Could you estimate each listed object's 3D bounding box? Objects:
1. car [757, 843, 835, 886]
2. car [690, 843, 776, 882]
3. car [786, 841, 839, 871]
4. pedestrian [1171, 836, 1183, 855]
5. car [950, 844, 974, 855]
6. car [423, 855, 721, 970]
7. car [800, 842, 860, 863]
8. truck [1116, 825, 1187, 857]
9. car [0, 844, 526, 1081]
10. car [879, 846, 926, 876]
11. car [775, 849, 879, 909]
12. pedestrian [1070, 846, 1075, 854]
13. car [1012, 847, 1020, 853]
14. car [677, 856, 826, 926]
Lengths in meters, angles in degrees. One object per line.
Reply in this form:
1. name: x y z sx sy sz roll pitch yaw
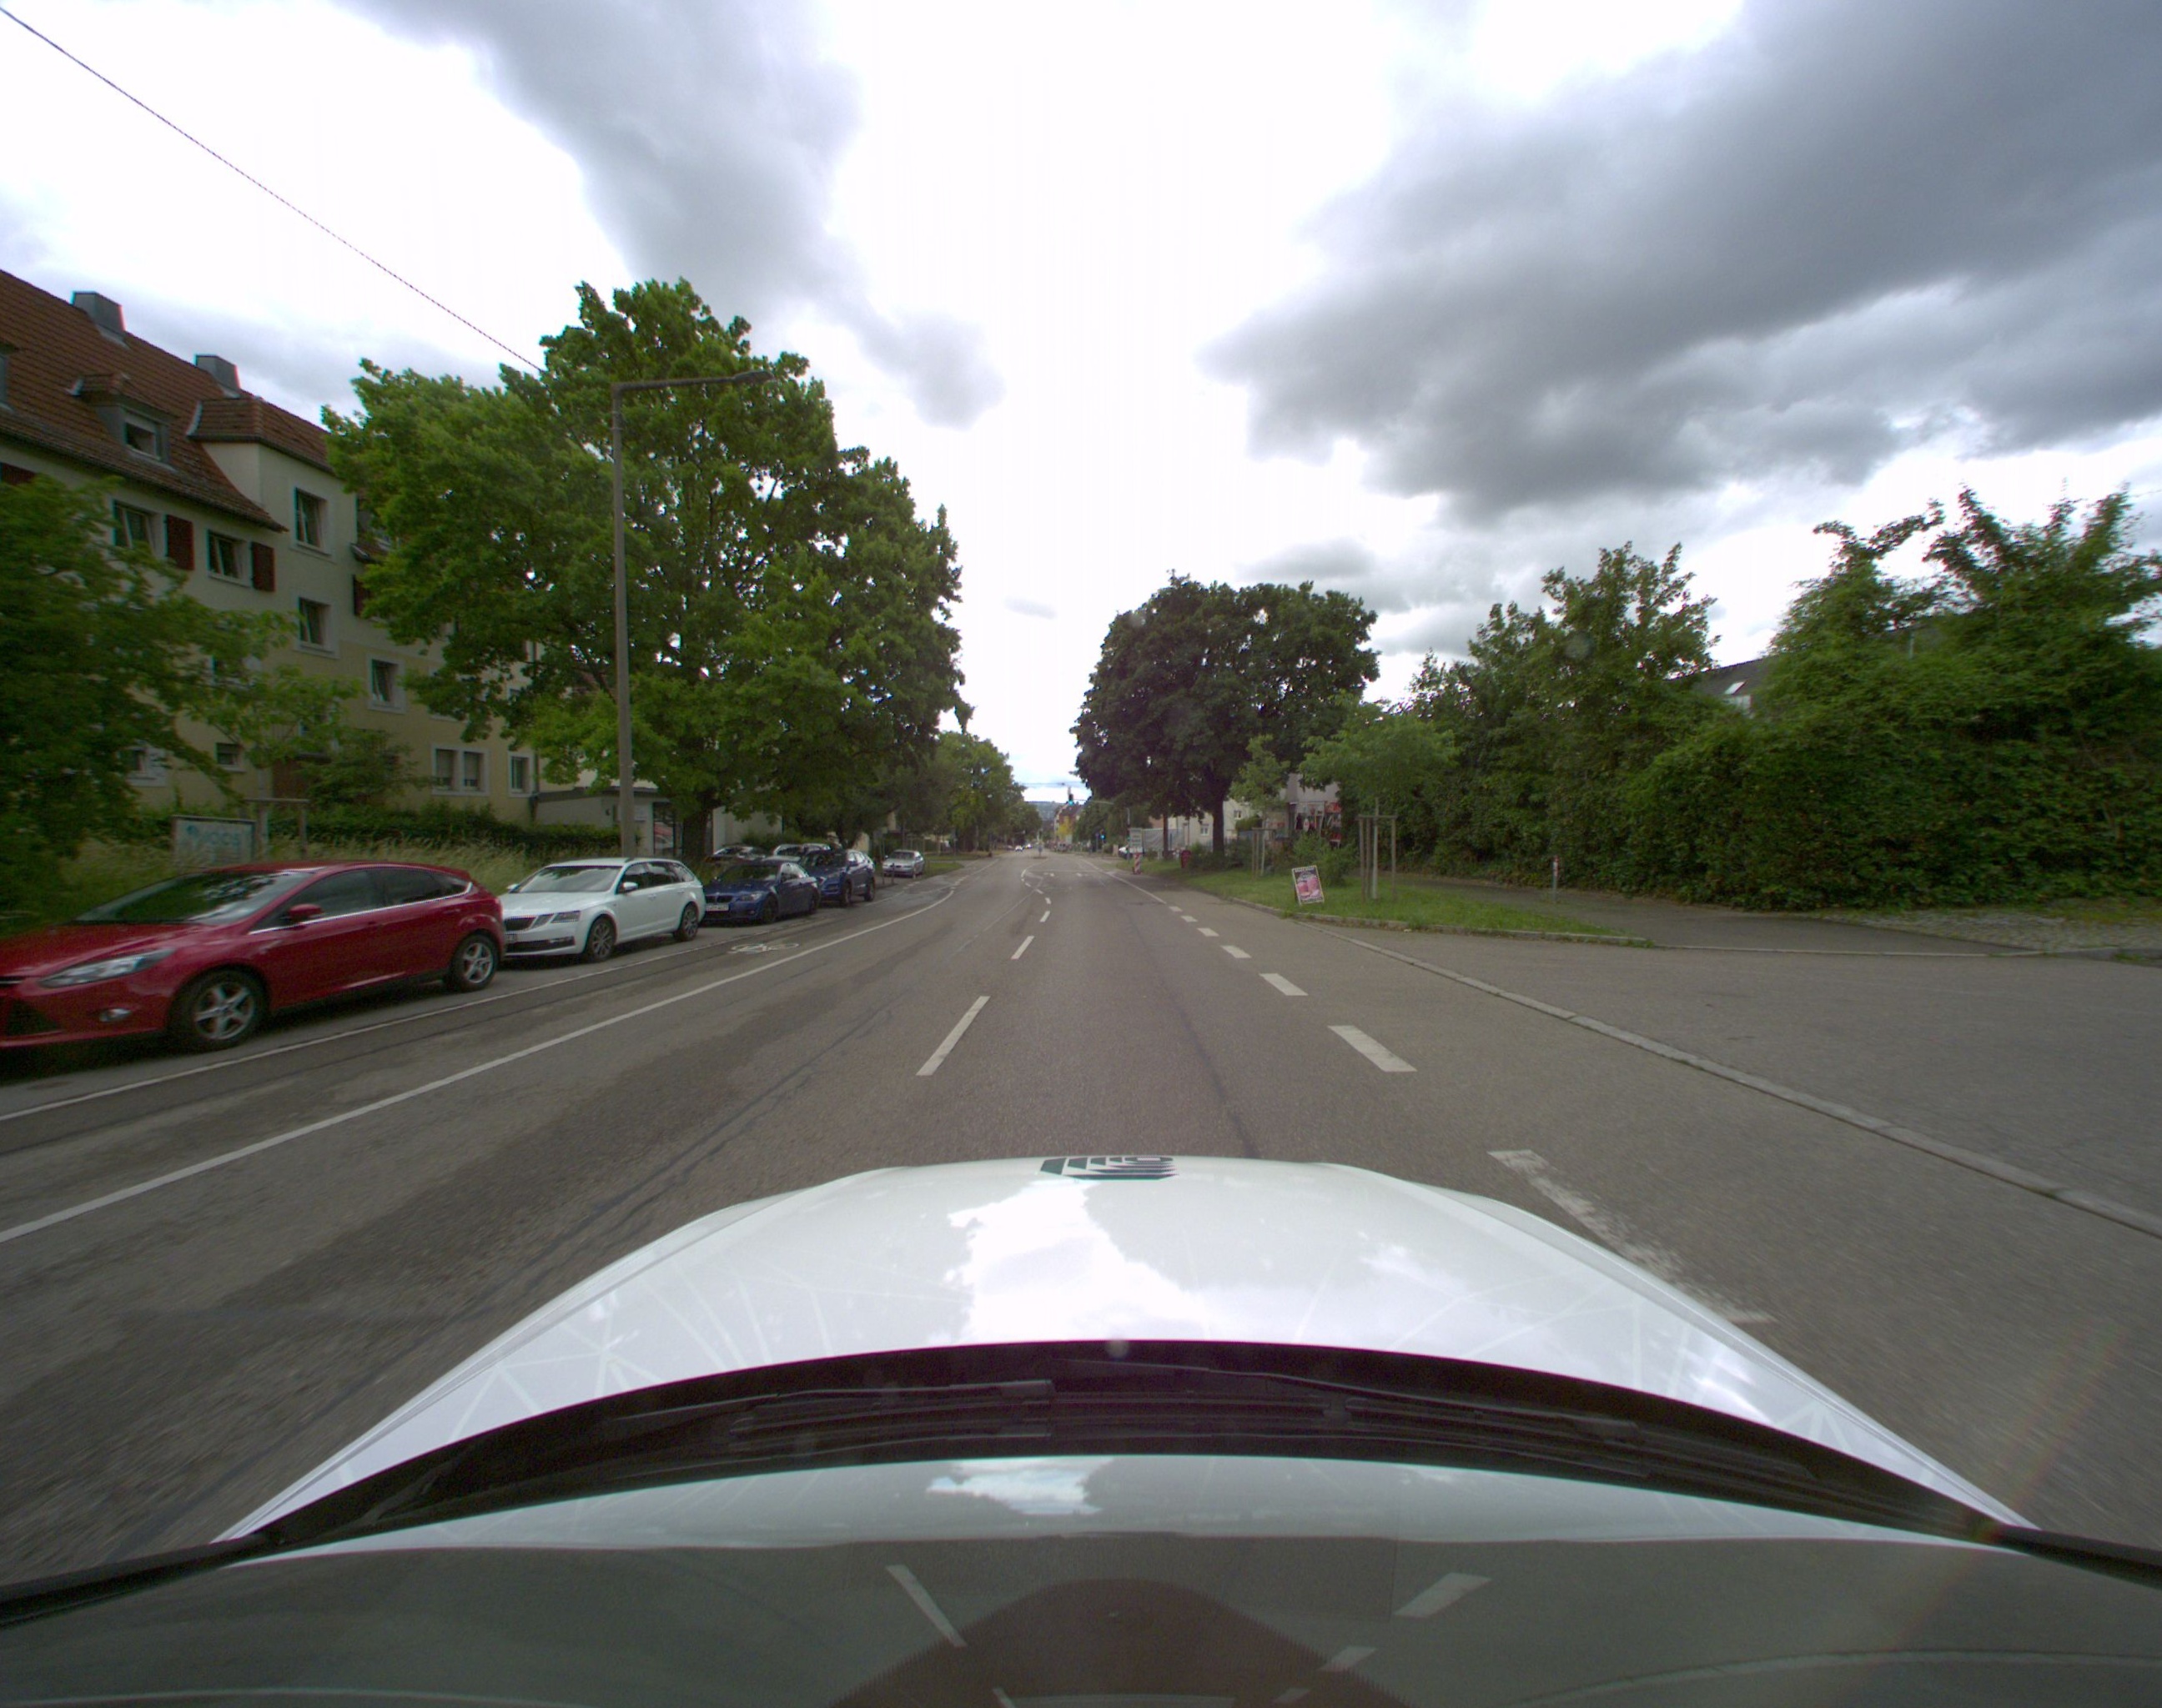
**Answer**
1. car: -12.035 0.419 34.663 1.755 1.633 4.000 3 0 1
2. car: -14.642 0.315 34.541 1.757 1.470 4.438 3 0 -2
3. car: -15.452 0.120 47.087 1.757 1.633 4.284 1 0 -2
4. pedestrian: 9.473 -0.871 80.178 0.750 1.855 0.949 -3 1 -17
5. car: -17.890 -0.690 122.281 3.443 1.596 1.997 1 0 -5
6. car: -7.576 0.755 12.817 1.710 1.459 4.755 1 0 -1
7. car: -23.422 -0.135 76.102 4.984 1.813 1.997 1 0 -5
8. truck: 7.333 -1.352 85.505 7.208 3.307 2.538 0 0 -2
9. car: -7.521 0.716 7.584 1.710 1.573 4.369 1 0 -1
10. car: -10.227 0.350 46.930 1.756 1.633 4.750 1 0 -1
11. car: -7.438 0.664 24.328 1.710 1.613 4.533 1 0 -1
12. pedestrian: -2.206 -1.029 201.258 1.197 1.810 1.300 1 0 -2
13. car: -17.031 -1.098 213.034 1.990 1.505 3.994 1 0 -4
14. car: -7.414 0.764 18.826 1.710 1.389 4.337 0 0 -1
